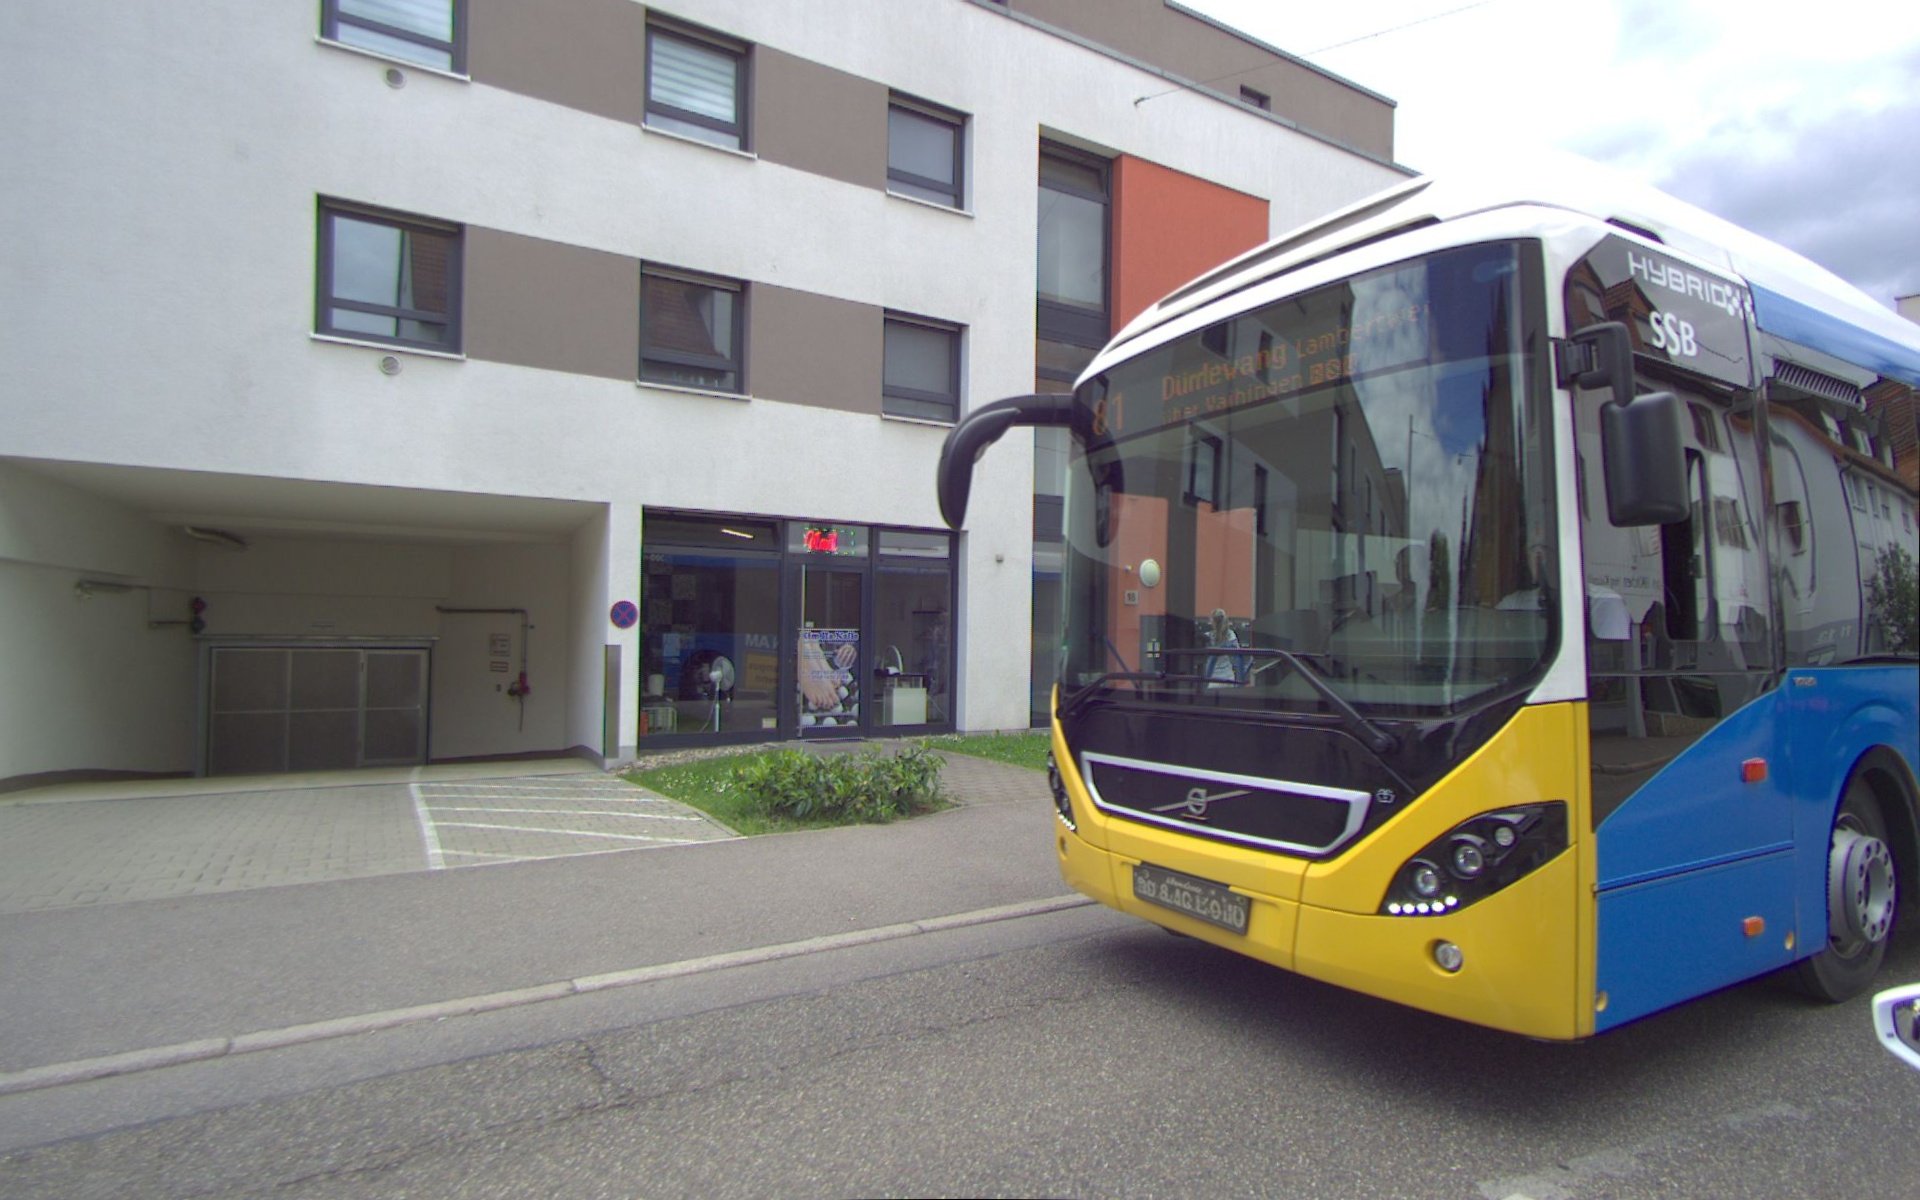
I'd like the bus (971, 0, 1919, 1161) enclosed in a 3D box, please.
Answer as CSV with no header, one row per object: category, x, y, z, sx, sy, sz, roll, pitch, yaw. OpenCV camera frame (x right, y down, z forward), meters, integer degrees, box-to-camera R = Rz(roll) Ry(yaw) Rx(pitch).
bus,5.868,0.052,7.150,11.870,3.317,2.928,1,-3,-31

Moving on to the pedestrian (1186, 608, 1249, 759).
pedestrian,2.920,0.926,11.429,0.627,1.664,0.520,1,-1,9
